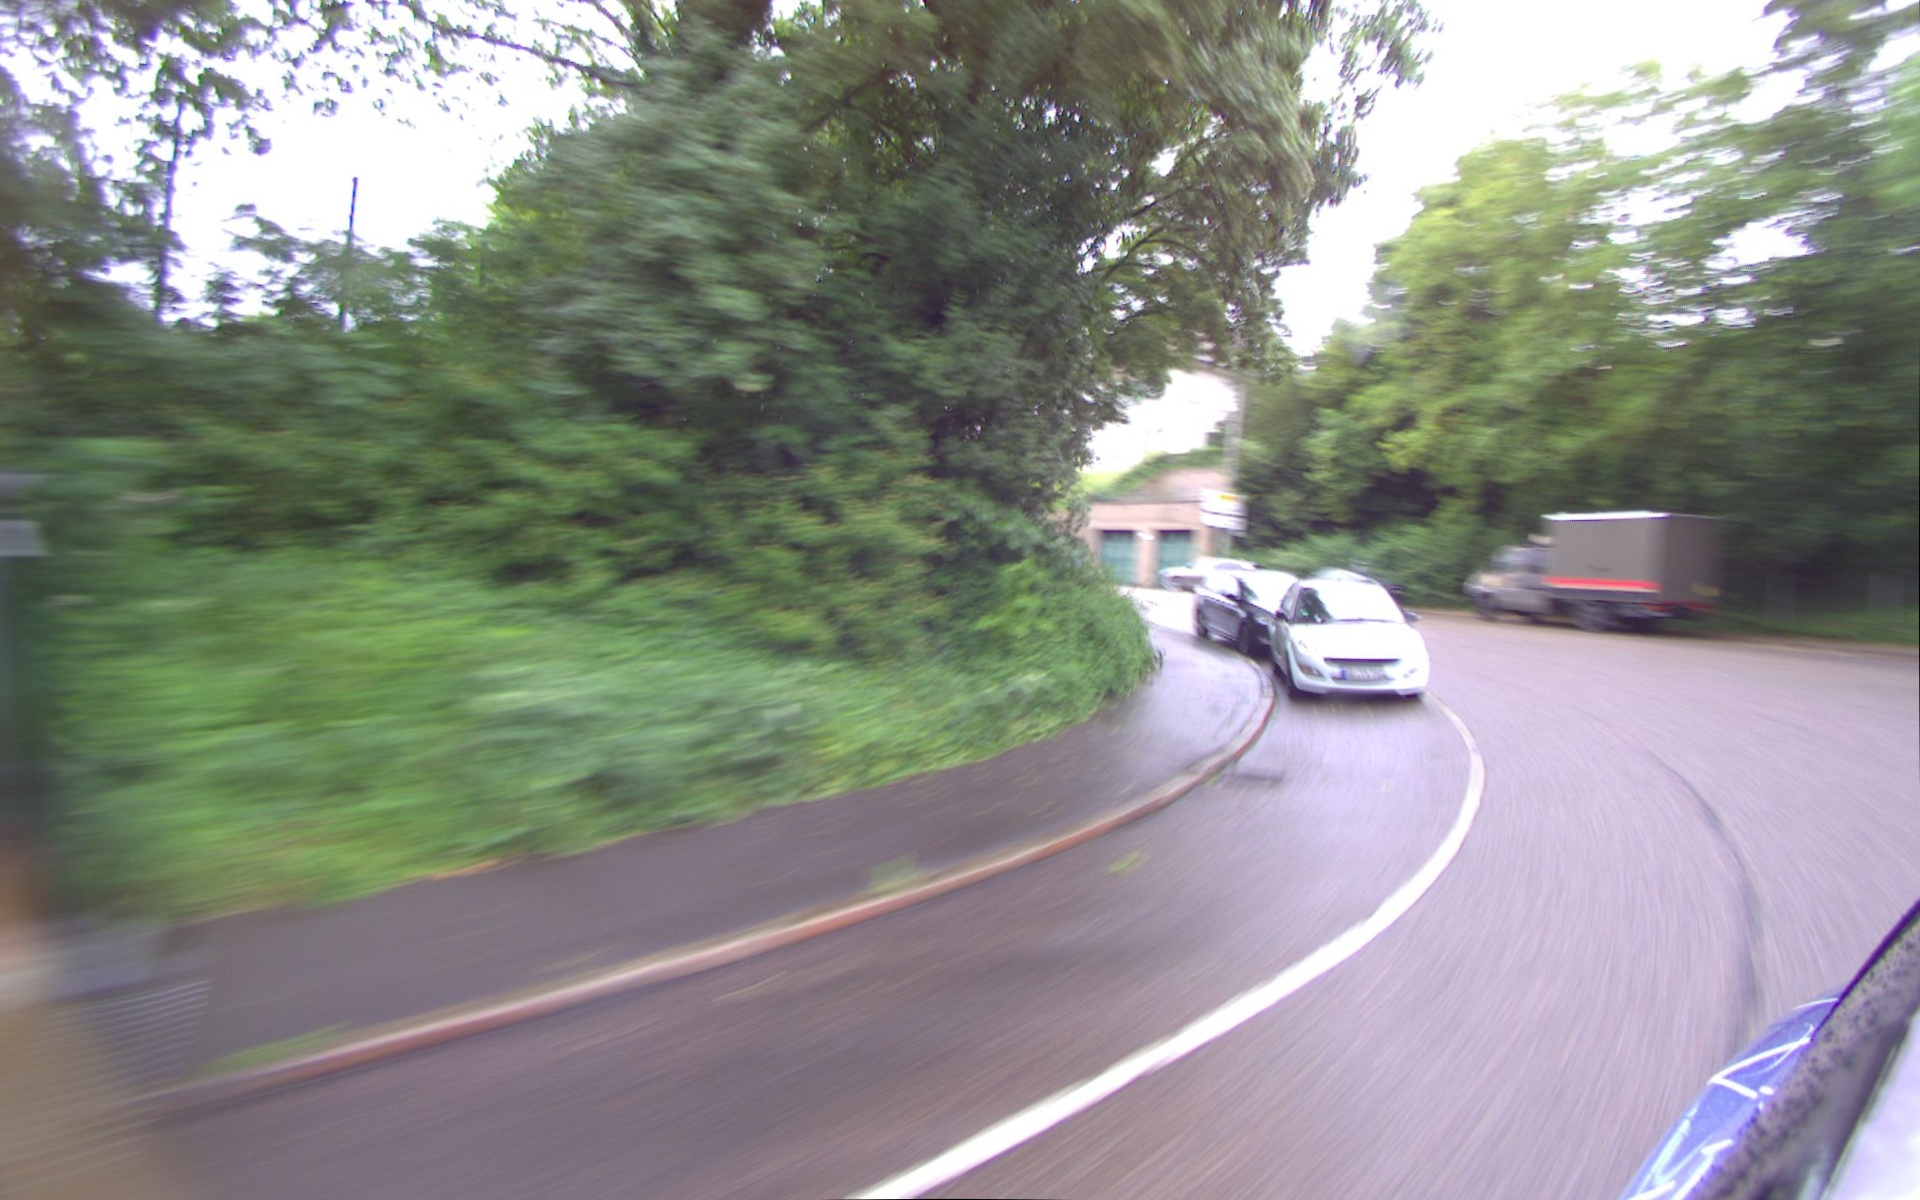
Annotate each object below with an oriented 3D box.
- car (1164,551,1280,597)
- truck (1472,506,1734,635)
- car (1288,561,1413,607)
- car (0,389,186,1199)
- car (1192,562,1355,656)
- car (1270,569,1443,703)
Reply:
[{"bbox_3d":[10.401,-1.054,40.359,1.729,1.429,4.102,3,3,-43],"label":"car"},{"bbox_3d":[17.376,-0.877,27.890,2.184,3.097,5.963,3,2,-16],"label":"truck"},{"bbox_3d":[13.682,-0.579,35.658,1.570,1.315,3.829,2,3,-35],"label":"car"},{"bbox_3d":[-4.138,0.618,1.152,4.936,1.911,2.001,1,-3,-31],"label":"car"},{"bbox_3d":[5.706,0.078,18.955,1.648,1.447,3.992,0,4,-2],"label":"car"},{"bbox_3d":[5.312,0.369,13.993,1.639,1.464,3.690,0,4,12],"label":"car"}]
